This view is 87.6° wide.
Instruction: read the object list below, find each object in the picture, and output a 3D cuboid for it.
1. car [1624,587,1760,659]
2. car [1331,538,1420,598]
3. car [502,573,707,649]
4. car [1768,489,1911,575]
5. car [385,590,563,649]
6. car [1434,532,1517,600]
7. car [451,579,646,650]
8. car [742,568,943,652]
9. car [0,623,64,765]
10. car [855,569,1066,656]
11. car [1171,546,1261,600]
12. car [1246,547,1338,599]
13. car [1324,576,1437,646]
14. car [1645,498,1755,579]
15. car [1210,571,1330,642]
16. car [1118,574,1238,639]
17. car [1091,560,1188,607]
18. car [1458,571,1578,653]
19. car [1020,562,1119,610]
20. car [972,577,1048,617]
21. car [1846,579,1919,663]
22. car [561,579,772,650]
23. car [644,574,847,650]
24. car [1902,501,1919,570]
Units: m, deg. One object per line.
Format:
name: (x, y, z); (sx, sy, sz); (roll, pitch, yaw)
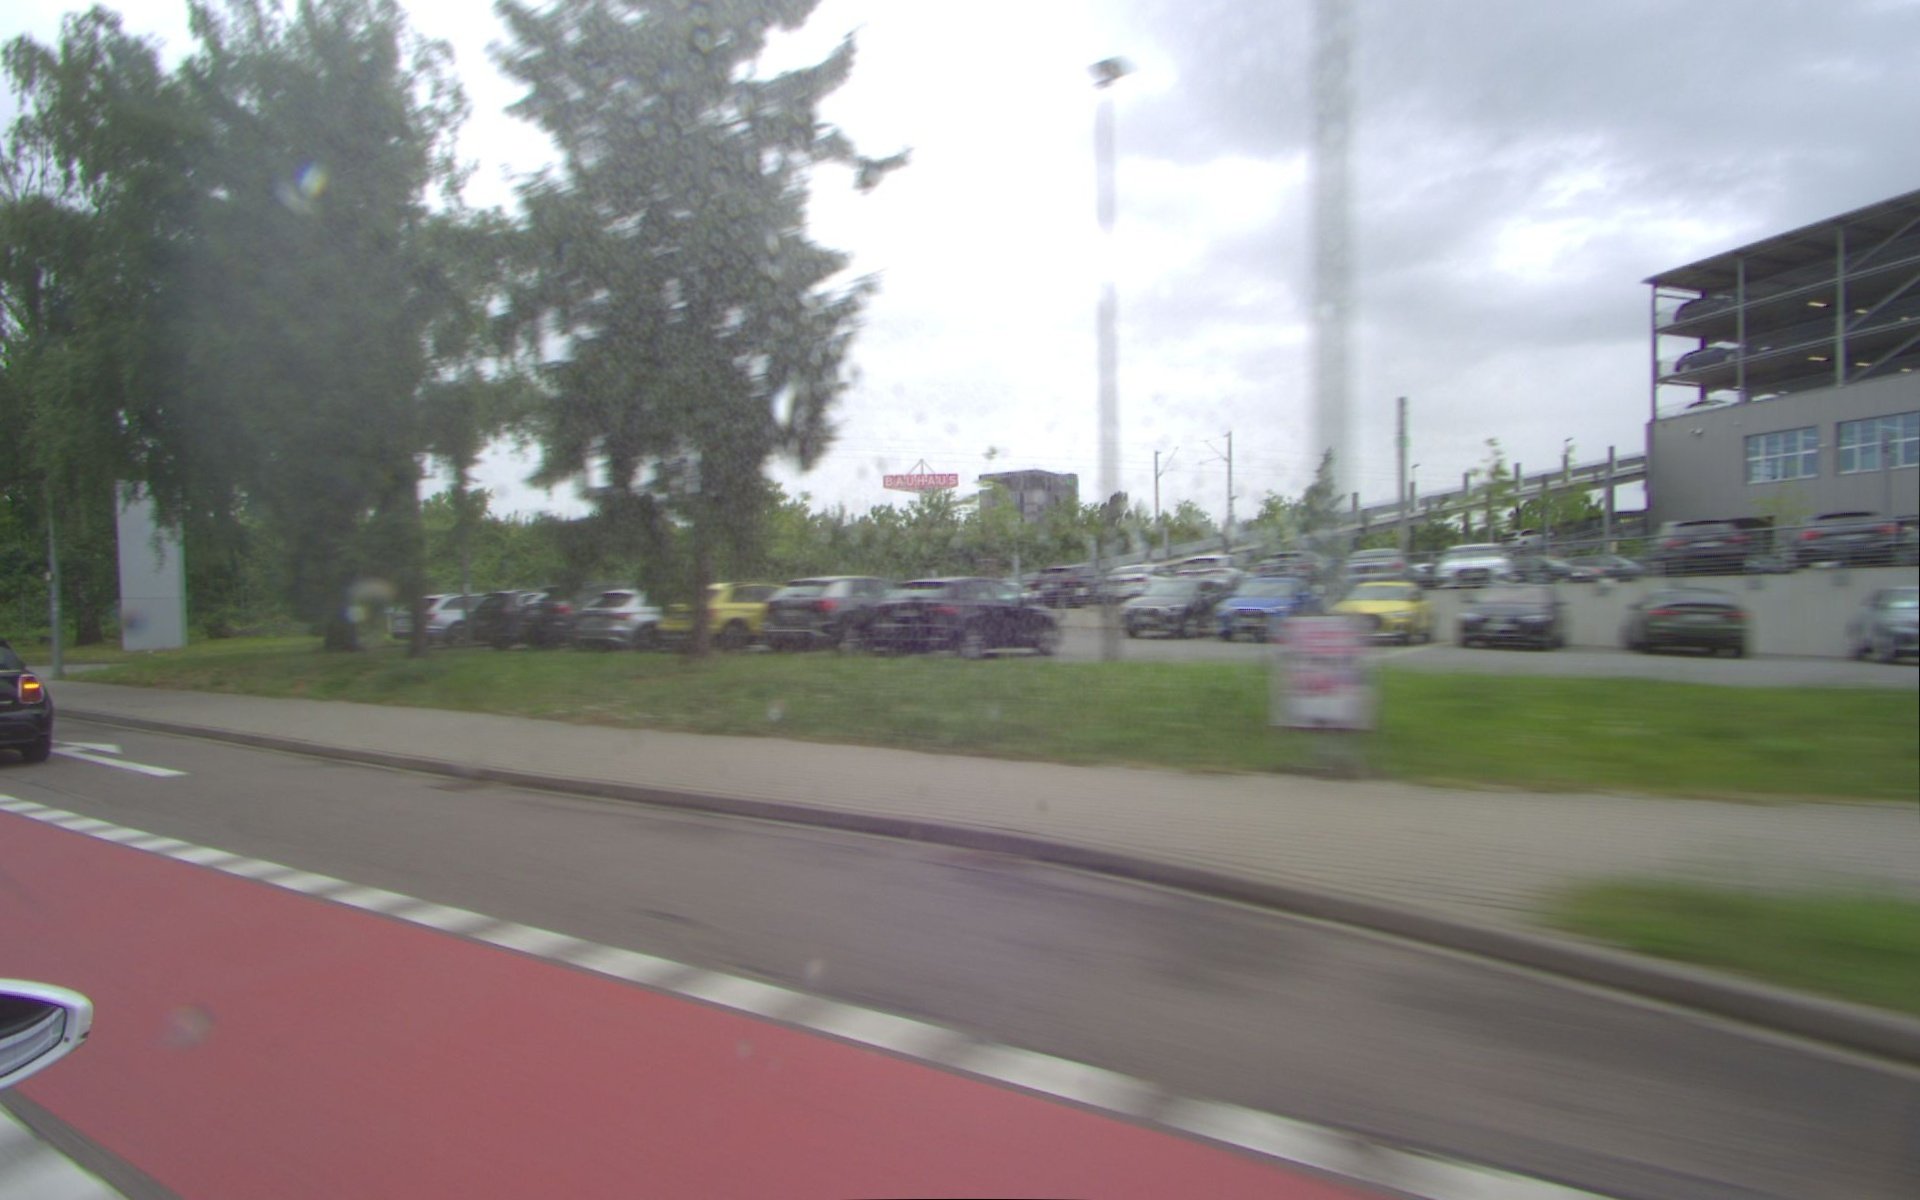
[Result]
car: (15.373, 0.430, 21.251); (1.873, 1.346, 4.290); (1, 1, 30)
car: (12.326, -0.877, 29.558); (1.805, 1.389, 4.293); (0, -3, 31)
car: (-8.365, 0.338, 23.911); (1.942, 1.621, 4.289); (0, -3, 34)
car: (20.901, -1.533, 23.981); (1.805, 1.544, 4.293); (0, -3, 31)
car: (-13.391, 0.525, 27.869); (1.713, 1.509, 4.295); (0, 0, 27)
car: (14.553, -0.881, 28.163); (1.805, 1.554, 4.293); (0, -3, 31)
car: (-10.390, 0.436, 25.608); (1.940, 1.621, 4.293); (0, -3, 31)
car: (-2.142, 0.261, 19.241); (1.925, 1.441, 3.746); (0, -3, 32)
car: (-11.556, 0.989, 11.148); (3.725, 1.450, 1.674); (-1, -1, 37)
car: (0.124, 0.291, 17.949); (1.876, 1.370, 3.984); (0, -3, 34)
car: (8.341, -0.817, 32.370); (1.675, 1.400, 4.293); (0, -3, 31)
car: (10.291, -0.773, 30.863); (1.805, 1.263, 4.293); (0, -3, 31)
car: (10.172, 0.269, 24.048); (1.875, 1.526, 4.289); (0, -1, 32)
car: (18.643, -1.469, 25.397); (1.832, 1.546, 4.293); (0, -3, 31)
car: (8.016, 0.145, 25.648); (1.874, 1.648, 4.289); (2, 1, 32)
car: (6.034, 0.149, 27.414); (1.874, 1.622, 4.288); (1, 1, 32)
car: (6.111, -0.509, 33.694); (1.805, 1.306, 4.293); (0, -3, 31)
car: (12.472, 0.228, 22.262); (1.876, 1.622, 4.284); (1, 1, 35)
car: (3.869, -0.431, 34.882); (1.805, 1.391, 4.293); (0, -3, 31)
car: (2.307, -0.108, 47.218); (1.937, 1.682, 4.300); (2, -2, -22)
car: (18.472, 0.453, 19.022); (1.875, 1.477, 3.900); (0, -3, 33)
car: (-6.372, 0.393, 22.199); (1.876, 1.400, 4.289); (0, -3, 34)
car: (-4.362, 0.318, 20.894); (1.786, 1.396, 3.986); (-1, -3, 35)
car: (22.922, -1.613, 22.386); (1.805, 1.530, 4.293); (0, -3, 31)
